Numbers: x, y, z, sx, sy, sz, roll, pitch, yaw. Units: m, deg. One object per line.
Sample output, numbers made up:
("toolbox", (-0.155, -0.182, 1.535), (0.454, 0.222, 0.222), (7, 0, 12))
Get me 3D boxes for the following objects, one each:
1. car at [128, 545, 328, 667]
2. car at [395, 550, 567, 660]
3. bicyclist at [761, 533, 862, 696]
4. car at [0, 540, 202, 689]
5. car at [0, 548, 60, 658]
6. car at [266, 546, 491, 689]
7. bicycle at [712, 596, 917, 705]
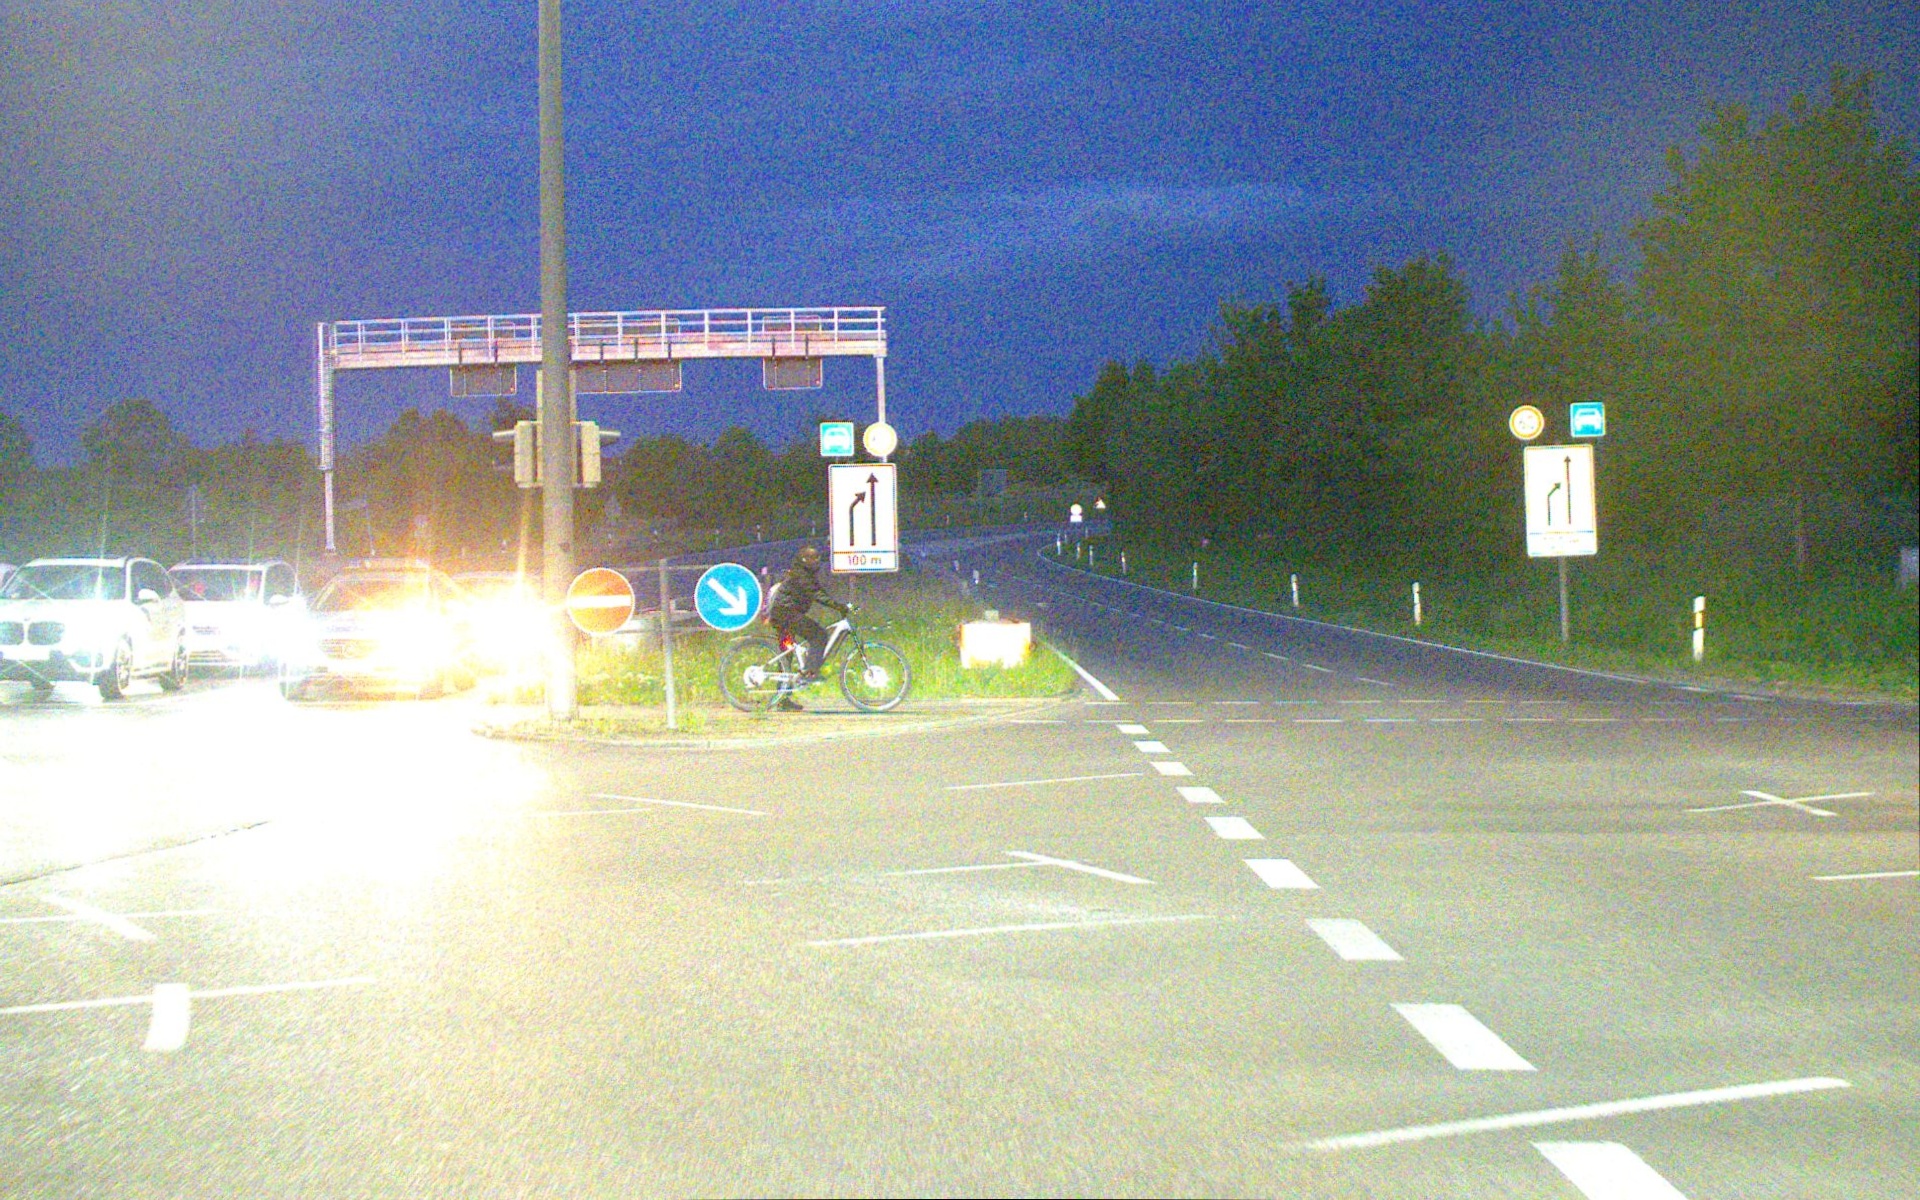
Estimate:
("car", (-10.224, 0.041, 48.303), (1.746, 1.621, 4.362), (0, 1, 2))
("car", (-6.799, 0.043, 49.176), (1.773, 1.476, 3.910), (1, 1, 2))
("bicyclist", (-1.521, 0.145, 35.124), (0.997, 1.645, 0.604), (0, 0, -5))
("car", (-10.597, 0.124, 41.235), (1.908, 1.676, 4.420), (1, 1, 2))
("car", (-14.157, 0.041, 48.432), (1.831, 1.519, 4.000), (-1, 1, 1))
("car", (-6.938, 0.162, 41.448), (1.852, 1.627, 4.585), (0, 1, 1))
("bicycle", (-1.491, 0.513, 35.113), (2.061, 1.097, 0.695), (0, 0, -5))
